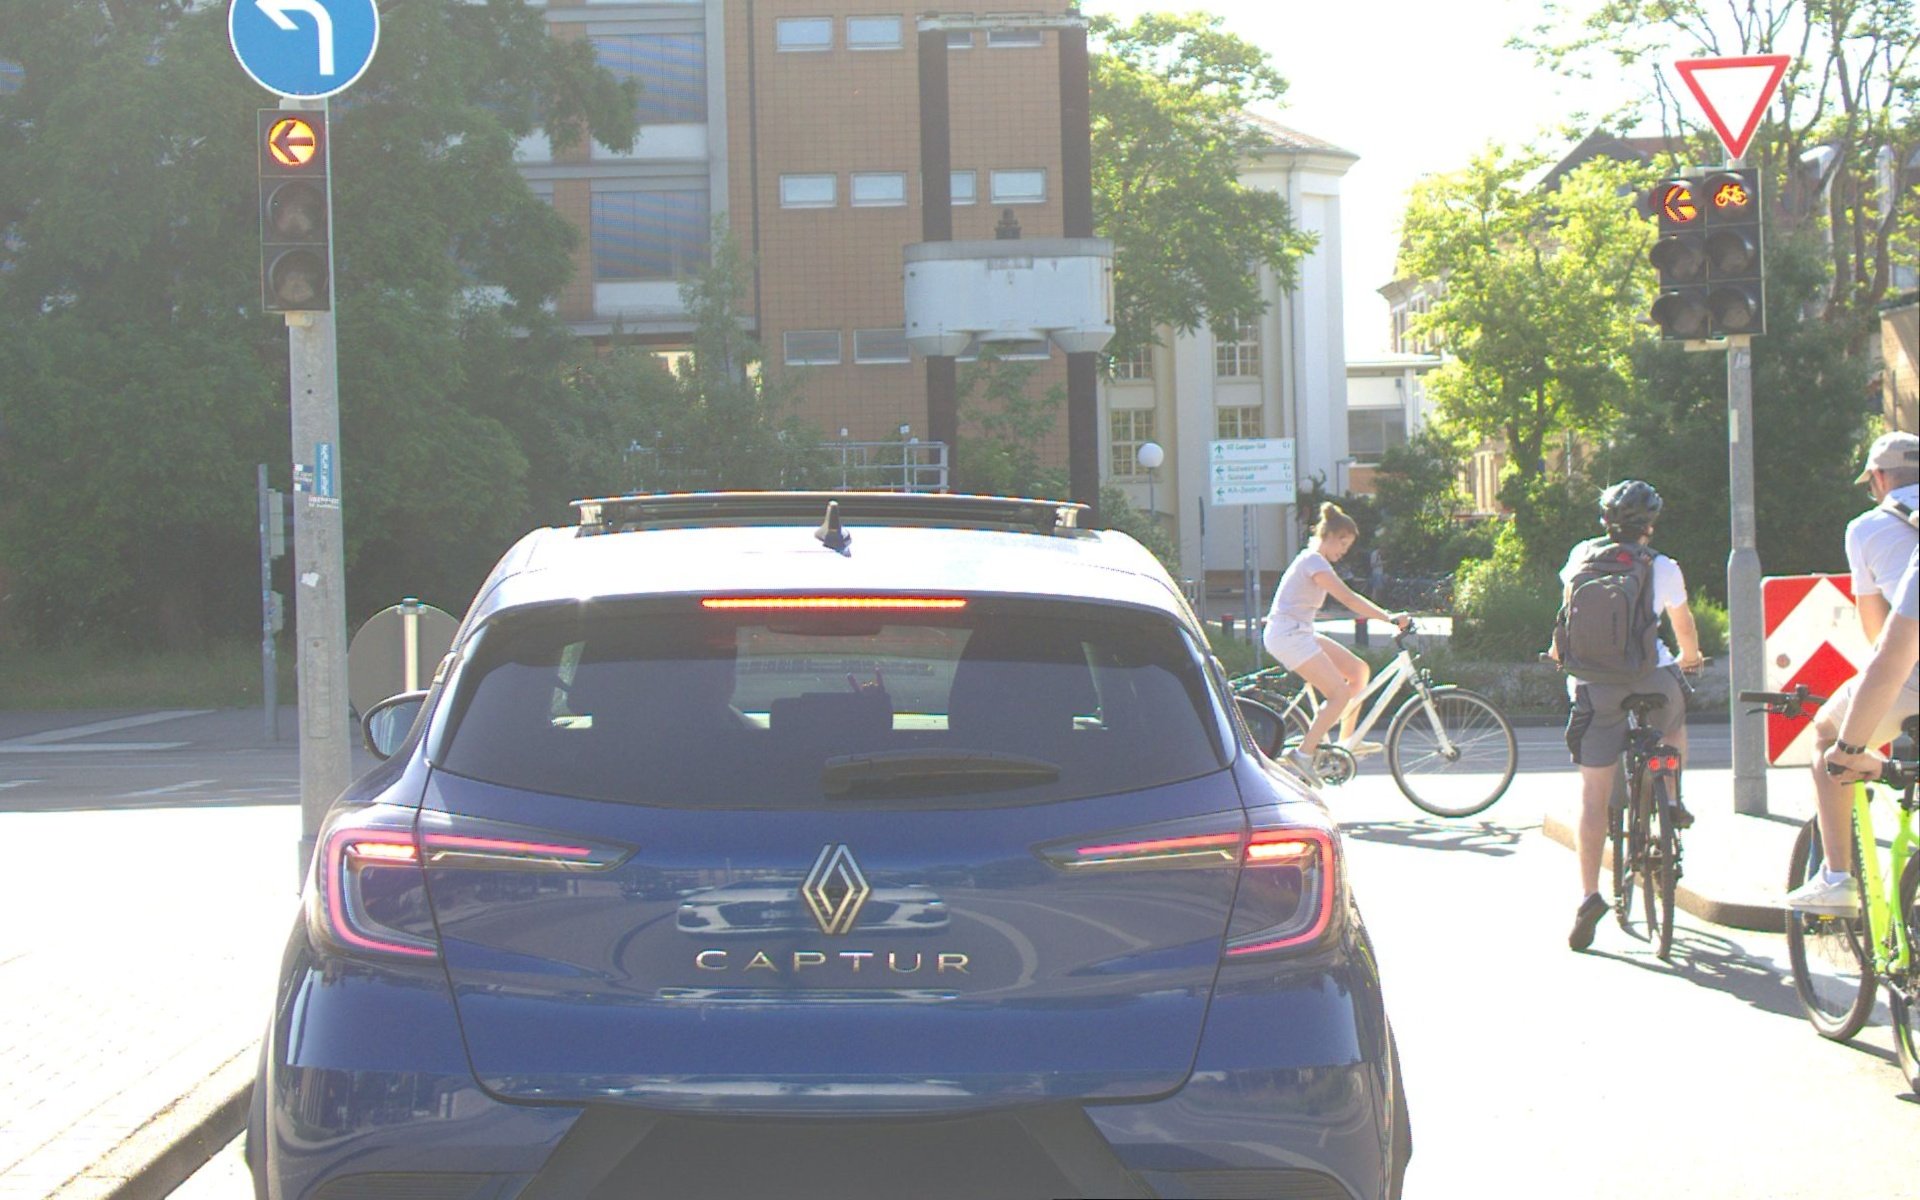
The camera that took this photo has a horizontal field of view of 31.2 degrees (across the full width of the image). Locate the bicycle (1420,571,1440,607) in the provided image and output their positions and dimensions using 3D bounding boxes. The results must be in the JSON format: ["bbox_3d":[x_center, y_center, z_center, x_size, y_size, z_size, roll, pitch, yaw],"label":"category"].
[{"bbox_3d":[12.915,-0.298,94.416,0.405,0.969,1.683,1,1,4],"label":"bicycle"}]

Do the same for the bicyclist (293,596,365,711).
[{"bbox_3d":[-8.034,0.675,43.787,0.737,1.436,0.598,-2,1,-27],"label":"bicyclist"}]

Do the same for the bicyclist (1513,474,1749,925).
[{"bbox_3d":[2.508,0.355,12.945,0.726,1.623,0.969,1,0,4],"label":"bicyclist"}]

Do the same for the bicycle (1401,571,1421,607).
[{"bbox_3d":[12.379,-0.306,94.403,0.405,0.969,1.683,1,1,4],"label":"bicycle"}]

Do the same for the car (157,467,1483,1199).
[{"bbox_3d":[-0.267,0.614,6.696,1.803,1.626,4.000,0,1,-2],"label":"car"}]

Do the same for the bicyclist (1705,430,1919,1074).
[{"bbox_3d":[2.623,0.407,9.810,0.645,1.733,1.067,1,0,-6],"label":"bicyclist"}]

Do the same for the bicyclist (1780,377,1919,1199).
[{"bbox_3d":[2.233,0.395,7.245,0.751,1.663,1.016,1,0,1],"label":"bicyclist"}]

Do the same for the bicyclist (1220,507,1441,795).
[{"bbox_3d":[2.029,0.271,18.746,1.069,1.494,0.741,-3,0,11],"label":"bicyclist"}]

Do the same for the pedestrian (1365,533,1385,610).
[{"bbox_3d":[10.979,-0.752,91.043,0.475,2.007,0.523,-1,1,6],"label":"pedestrian"}]

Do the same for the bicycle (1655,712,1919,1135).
[{"bbox_3d":[2.613,0.866,9.821,0.659,0.999,1.970,1,1,-6],"label":"bicycle"}]

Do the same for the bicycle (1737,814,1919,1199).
[{"bbox_3d":[2.228,0.975,7.256,0.740,0.893,1.978,1,1,1],"label":"bicycle"}]

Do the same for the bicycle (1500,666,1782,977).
[{"bbox_3d":[2.511,0.781,12.901,0.739,0.992,2.173,1,1,3],"label":"bicycle"}]

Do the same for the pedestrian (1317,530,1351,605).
[{"bbox_3d":[10.152,-0.890,93.381,0.859,2.007,0.468,-1,1,6],"label":"pedestrian"}]

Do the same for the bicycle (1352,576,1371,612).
[{"bbox_3d":[10.989,-0.178,94.080,0.405,0.969,1.683,1,1,4],"label":"bicycle"}]

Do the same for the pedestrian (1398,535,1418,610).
[{"bbox_3d":[12.036,-0.751,92.395,0.475,2.007,0.468,-1,1,6],"label":"pedestrian"}]

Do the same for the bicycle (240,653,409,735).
[{"bbox_3d":[-8.081,1.188,43.769,2.005,0.961,0.598,-2,1,-27],"label":"bicycle"}]

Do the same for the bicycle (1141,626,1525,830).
[{"bbox_3d":[2.046,0.694,18.748,1.985,0.992,0.741,-3,0,11],"label":"bicycle"}]

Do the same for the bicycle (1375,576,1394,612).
[{"bbox_3d":[11.611,-0.169,94.037,0.405,0.969,1.683,1,1,4],"label":"bicycle"}]
